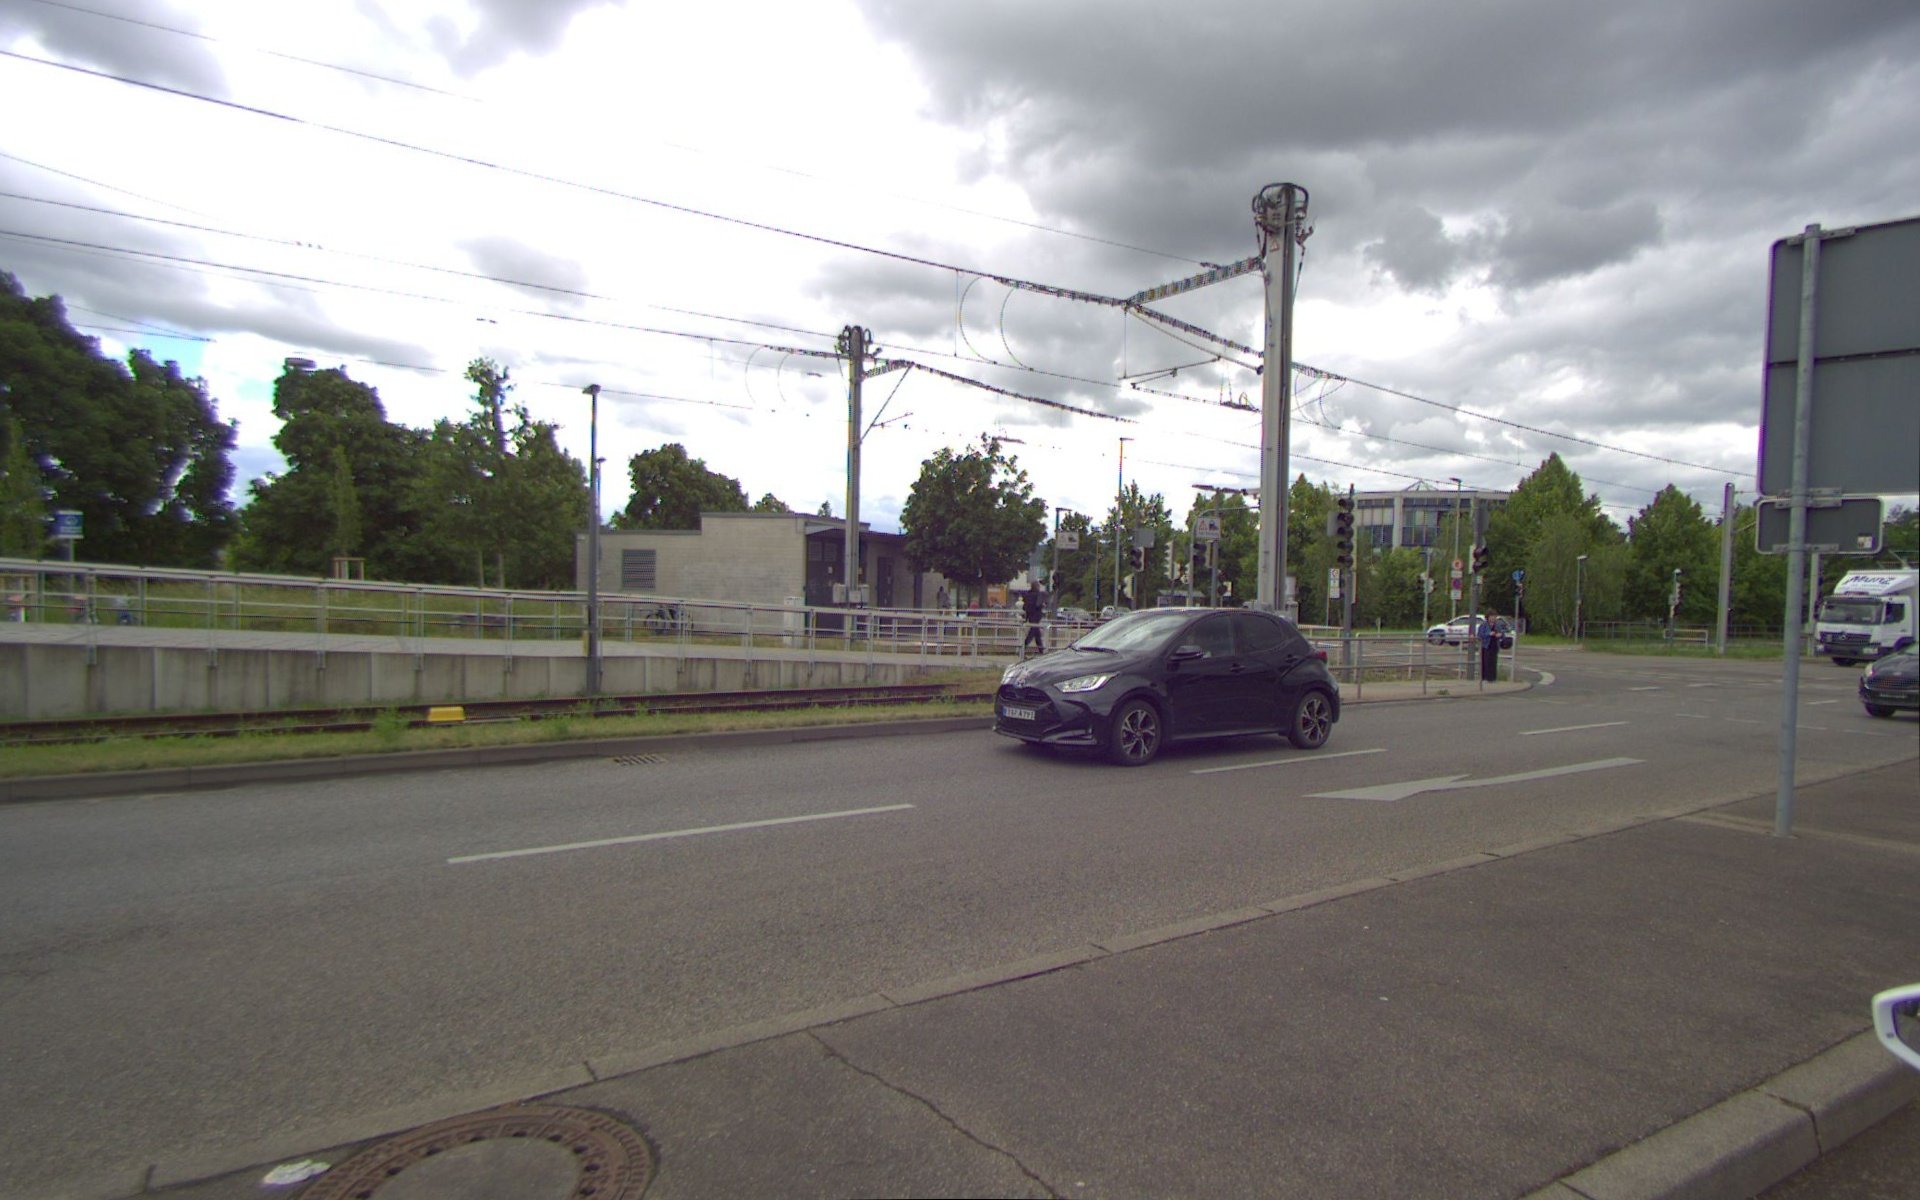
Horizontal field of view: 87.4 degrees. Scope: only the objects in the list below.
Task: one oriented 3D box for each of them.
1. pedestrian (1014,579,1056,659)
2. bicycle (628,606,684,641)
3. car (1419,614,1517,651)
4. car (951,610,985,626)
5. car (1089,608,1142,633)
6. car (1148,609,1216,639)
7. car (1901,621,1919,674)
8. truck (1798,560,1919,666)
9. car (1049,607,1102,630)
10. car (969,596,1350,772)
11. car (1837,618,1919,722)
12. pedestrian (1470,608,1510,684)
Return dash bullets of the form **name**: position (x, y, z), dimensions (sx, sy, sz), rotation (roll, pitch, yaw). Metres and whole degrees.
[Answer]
- **pedestrian**: position (1.781, 0.445, 23.821), dimensions (0.785, 1.852, 0.568), rotation (1, 1, -34)
- **bicycle**: position (-9.676, 0.739, 31.940), dimensions (1.762, 1.029, 0.411), rotation (1, 1, 18)
- **car**: position (23.568, 1.484, 46.699), dimensions (1.763, 1.528, 3.709), rotation (-3, 2, -35)
- **car**: position (0.678, 1.545, 86.697), dimensions (1.697, 1.327, 3.729), rotation (1, 0, -22)
- **car**: position (9.004, 1.184, 58.316), dimensions (1.530, 1.327, 3.276), rotation (1, 0, -22)
- **car**: position (11.504, 1.228, 52.270), dimensions (1.496, 1.395, 3.979), rotation (1, 0, -22)
- **car**: position (30.015, 1.456, 28.988), dimensions (3.933, 1.536, 1.727), rotation (1, -2, 35)
- **truck**: position (36.506, 0.559, 37.624), dimensions (9.338, 3.698, 2.662), rotation (2, 1, -13)
- **car**: position (7.196, 1.119, 62.914), dimensions (1.698, 1.328, 3.728), rotation (1, 1, -22)
- **car**: position (2.162, 0.758, 10.523), dimensions (3.896, 1.516, 1.585), rotation (1, 1, -32)
- **car**: position (15.876, 1.073, 15.509), dimensions (3.712, 1.499, 1.635), rotation (1, 1, -13)
- **pedestrian**: position (11.262, 0.966, 21.349), dimensions (0.640, 1.577, 0.354), rotation (-1, 2, 4)
